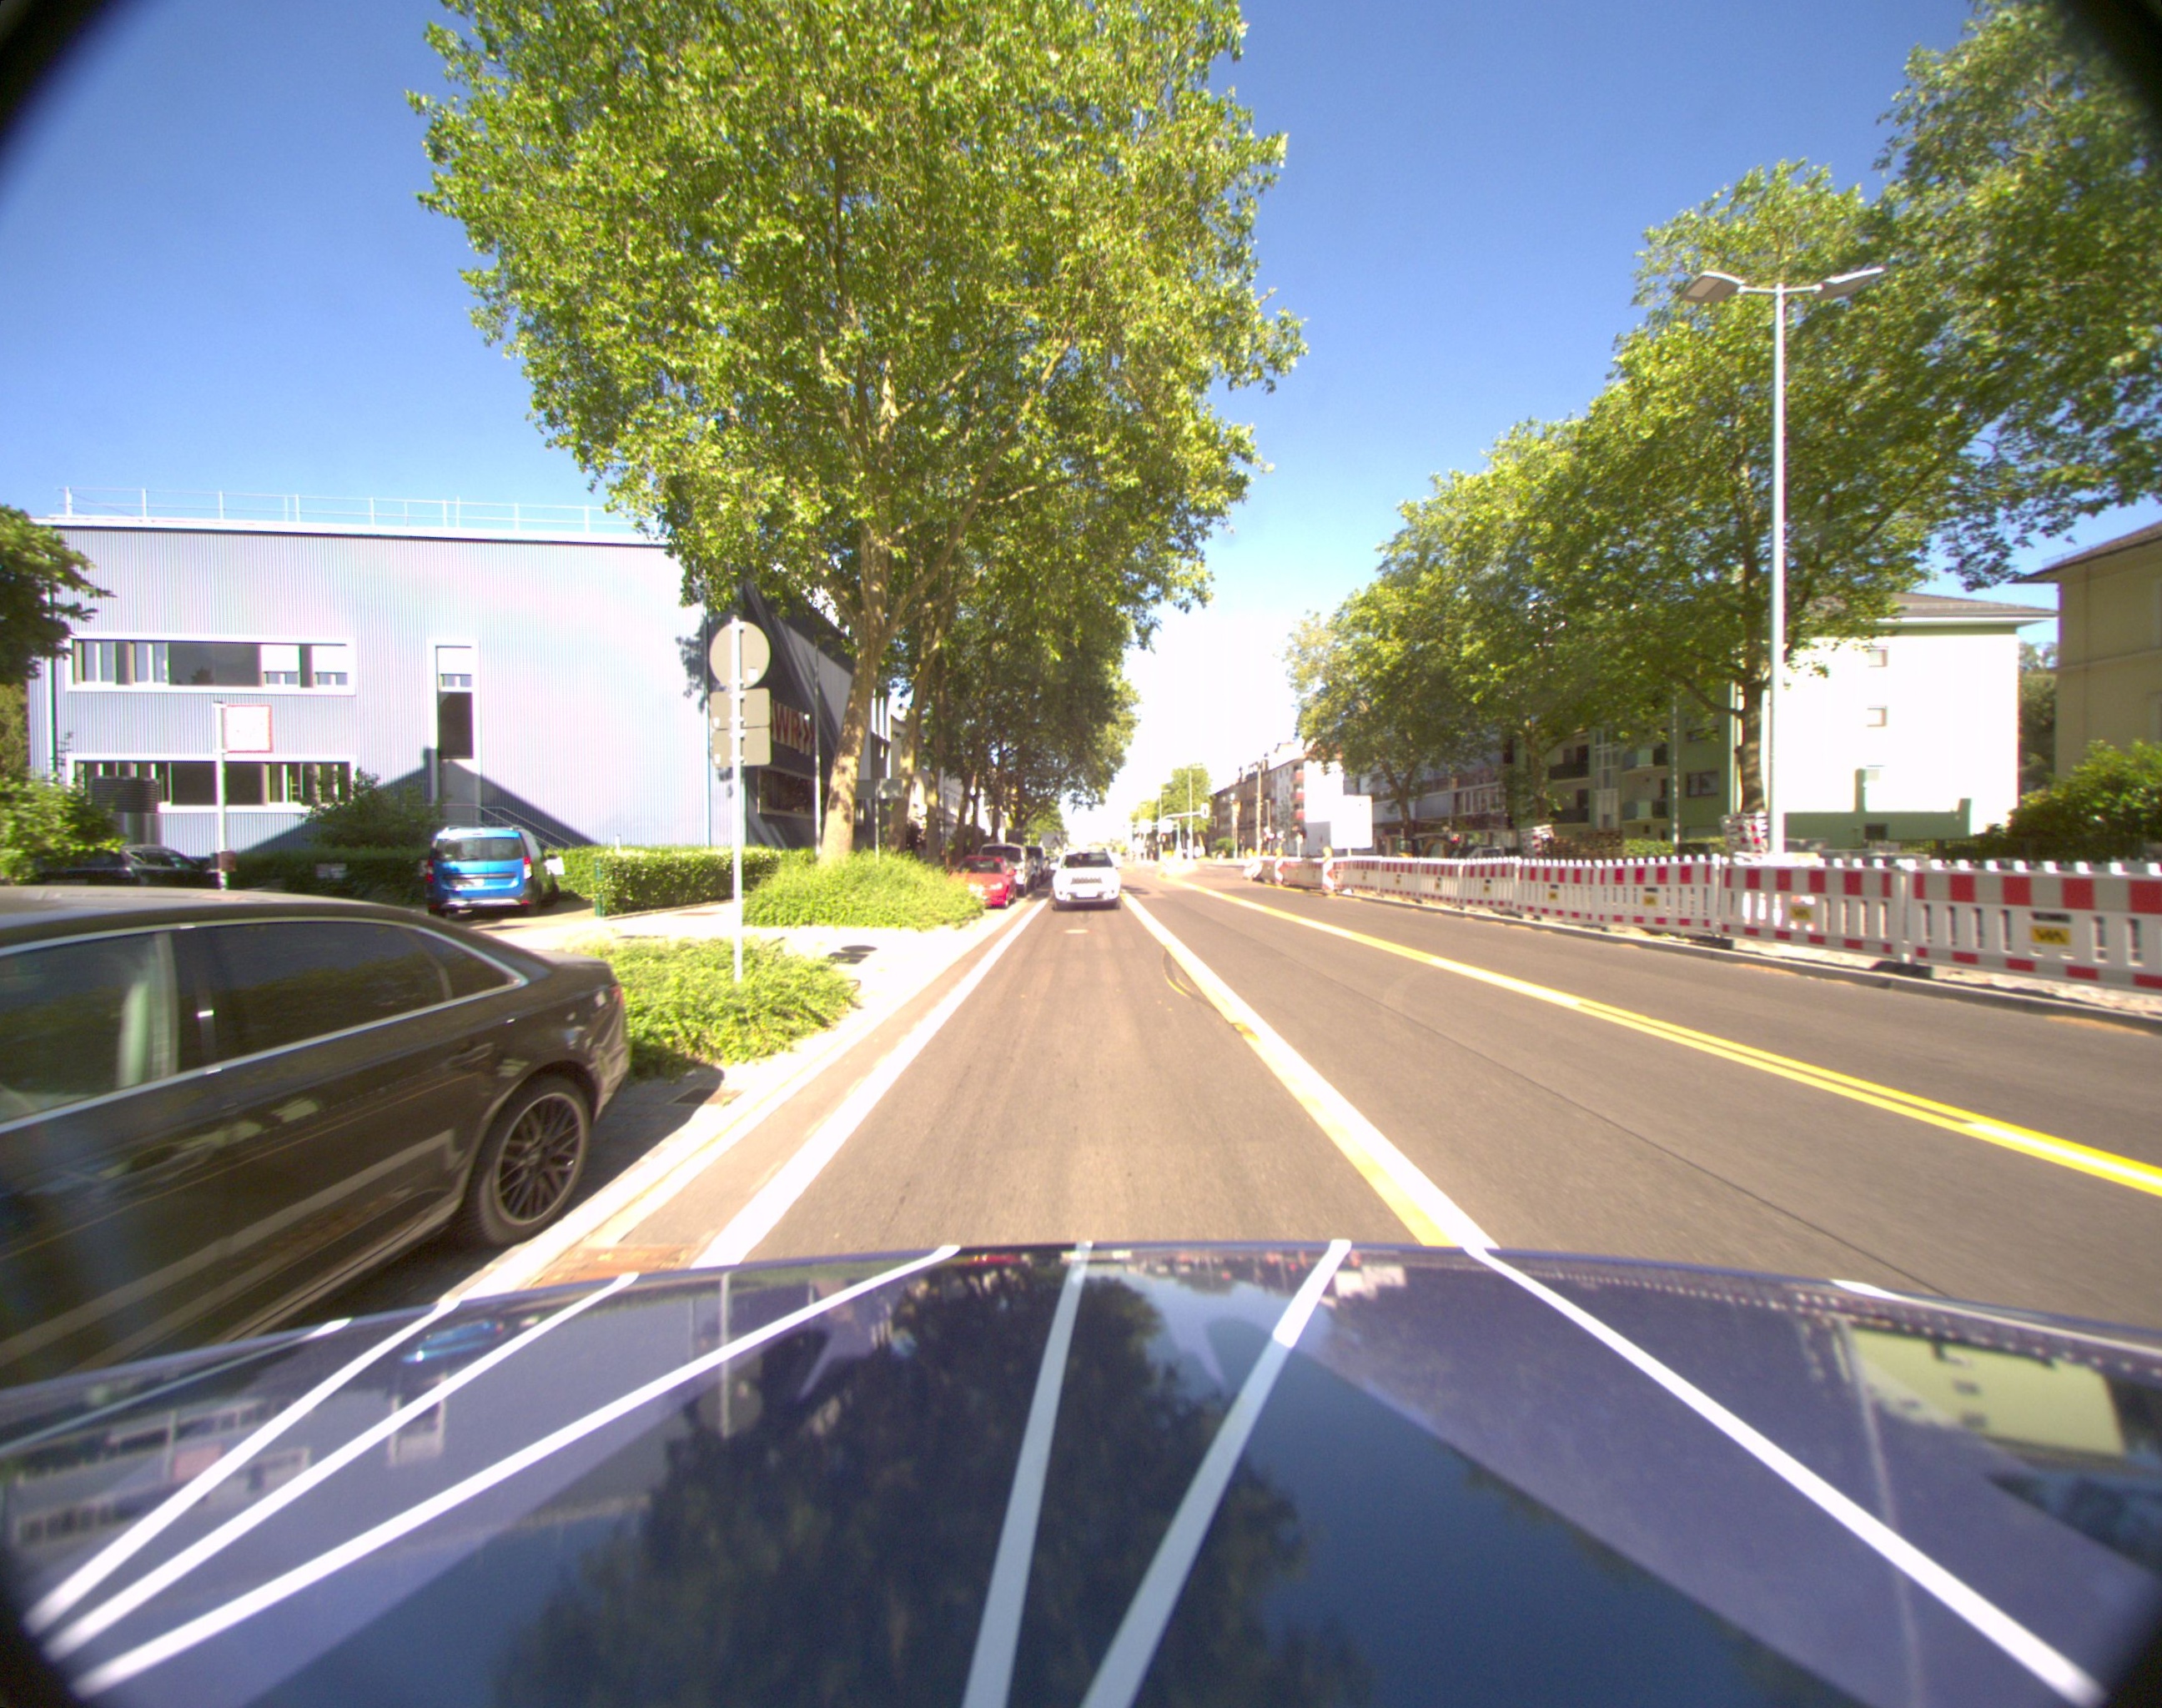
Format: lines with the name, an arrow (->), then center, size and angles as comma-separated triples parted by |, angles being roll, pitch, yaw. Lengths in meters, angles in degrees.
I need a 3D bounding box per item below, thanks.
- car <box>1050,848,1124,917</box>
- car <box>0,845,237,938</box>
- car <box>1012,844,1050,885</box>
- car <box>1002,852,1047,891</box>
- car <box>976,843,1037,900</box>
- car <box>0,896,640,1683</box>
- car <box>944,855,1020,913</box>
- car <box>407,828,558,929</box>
car -> 0.177, 0.723, 22.025 | 1.868, 1.716, 4.506 | -2, 1, 1
car -> -19.941, 0.658, 15.973 | 1.803, 1.629, 3.990 | -2, 2, -31
car -> -2.518, 0.506, 39.191 | 1.631, 1.997, 4.220 | 0, 1, 1
car -> -2.467, 0.735, 33.872 | 1.631, 1.625, 4.220 | 0, 1, 1
car -> -2.686, 0.596, 28.318 | 1.753, 1.954, 4.506 | 0, 1, 1
car -> -3.045, 0.961, 1.455 | 1.720, 1.404, 4.475 | 2, 1, 1
car -> -2.802, 0.800, 22.295 | 1.674, 1.509, 3.997 | 0, 1, 1
car -> -12.230, 0.415, 15.807 | 1.803, 1.811, 3.990 | -1, 1, -29
